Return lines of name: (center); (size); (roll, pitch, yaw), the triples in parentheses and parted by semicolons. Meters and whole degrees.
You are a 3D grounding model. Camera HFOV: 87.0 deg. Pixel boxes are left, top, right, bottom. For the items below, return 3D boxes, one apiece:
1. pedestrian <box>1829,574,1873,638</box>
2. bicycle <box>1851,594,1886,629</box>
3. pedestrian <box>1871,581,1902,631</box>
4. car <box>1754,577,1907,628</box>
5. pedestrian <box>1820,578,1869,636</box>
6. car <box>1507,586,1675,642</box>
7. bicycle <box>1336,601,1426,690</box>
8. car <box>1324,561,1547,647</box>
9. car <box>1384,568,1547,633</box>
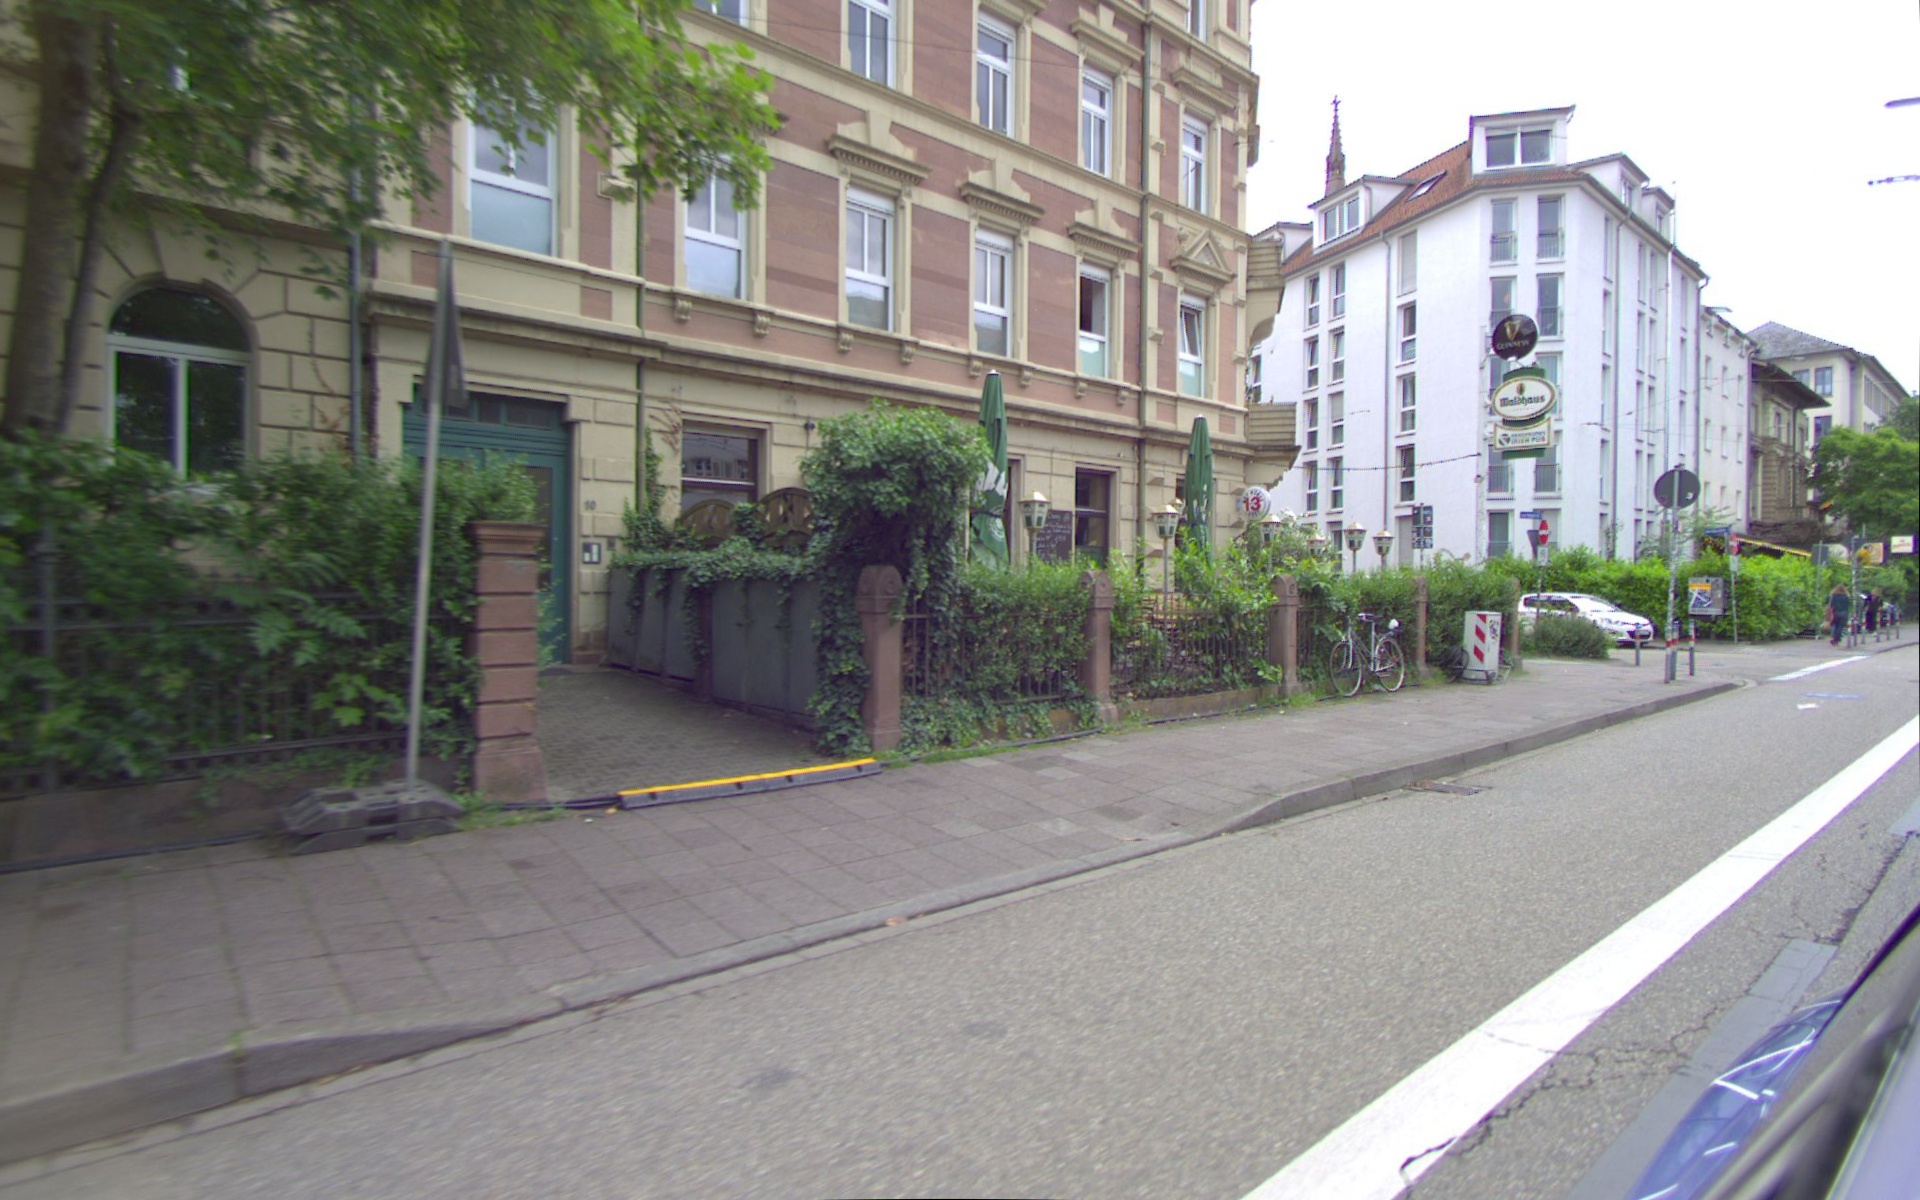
pedestrian: (23.947, 0.150, 27.226); (0.872, 1.676, 0.895); (0, 0, 41)
bicycle: (30.885, 0.372, 34.394); (1.781, 1.141, 0.634); (0, 2, -42)
pedestrian: (32.400, 0.205, 35.404); (0.943, 1.691, 0.624); (0, 3, -42)
car: (34.255, 0.049, 39.905); (1.790, 1.831, 4.291); (0, 2, -39)
pedestrian: (26.011, 0.180, 29.760); (0.819, 1.656, 0.797); (-1, 2, -25)
car: (17.620, 0.350, 28.456); (1.636, 1.449, 3.829); (1, 0, -18)
bicycle: (5.454, 0.558, 13.063); (1.816, 1.054, 0.302); (-1, 1, -41)
car: (11.376, 0.062, 24.211); (4.924, 1.901, 2.063); (0, 1, -23)
car: (16.444, -0.009, 33.230); (1.935, 1.963, 4.755); (1, 1, -19)
